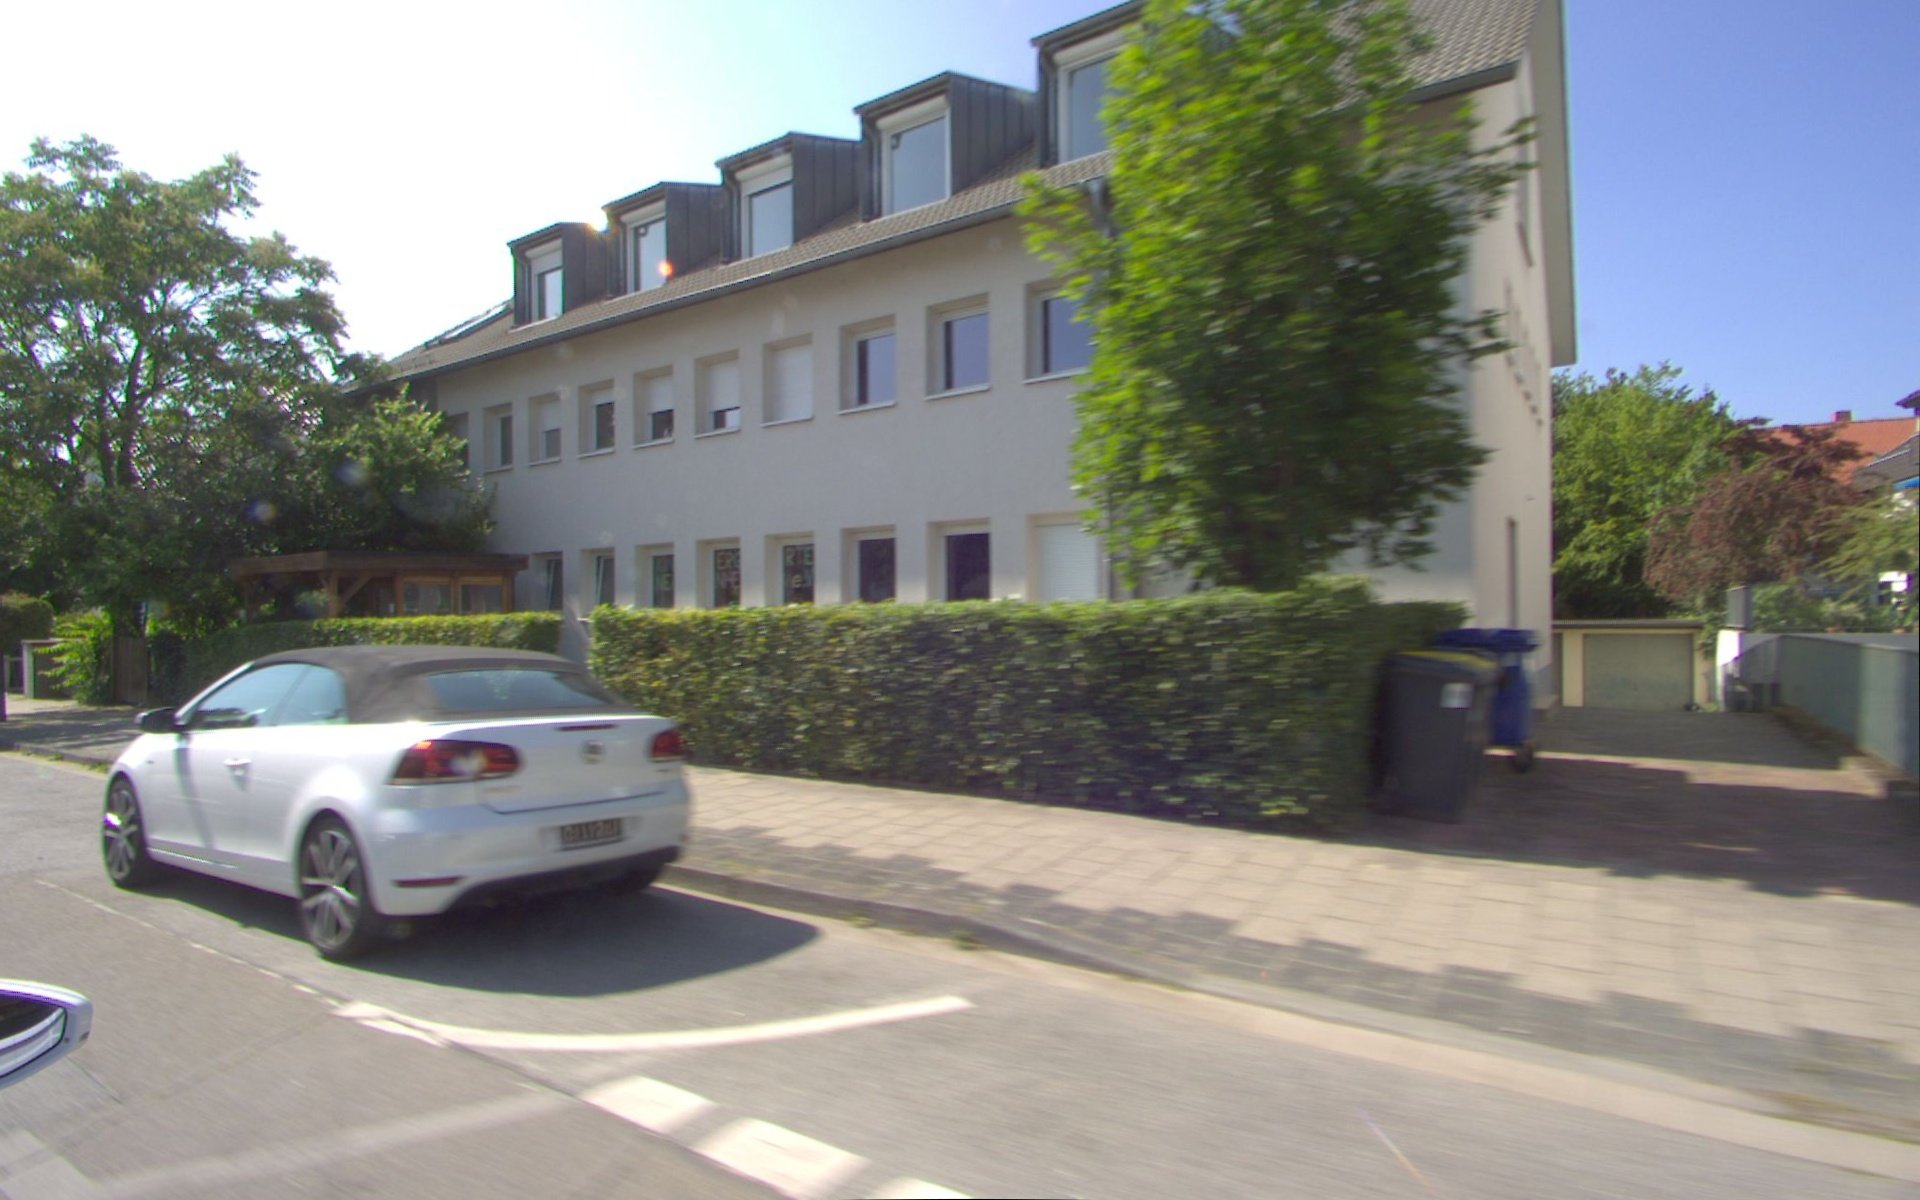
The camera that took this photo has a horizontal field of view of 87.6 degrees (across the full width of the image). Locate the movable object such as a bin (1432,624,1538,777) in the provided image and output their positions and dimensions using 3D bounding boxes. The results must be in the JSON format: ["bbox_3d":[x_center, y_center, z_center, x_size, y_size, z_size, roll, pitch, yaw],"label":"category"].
[{"bbox_3d":[4.621,0.849,8.810,0.782,1.259,0.745,-1,-1,30],"label":"movable object such as a bin"}]

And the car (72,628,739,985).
[{"bbox_3d":[-3.356,0.910,5.843,4.017,1.419,1.737,-1,-3,34],"label":"car"}]
